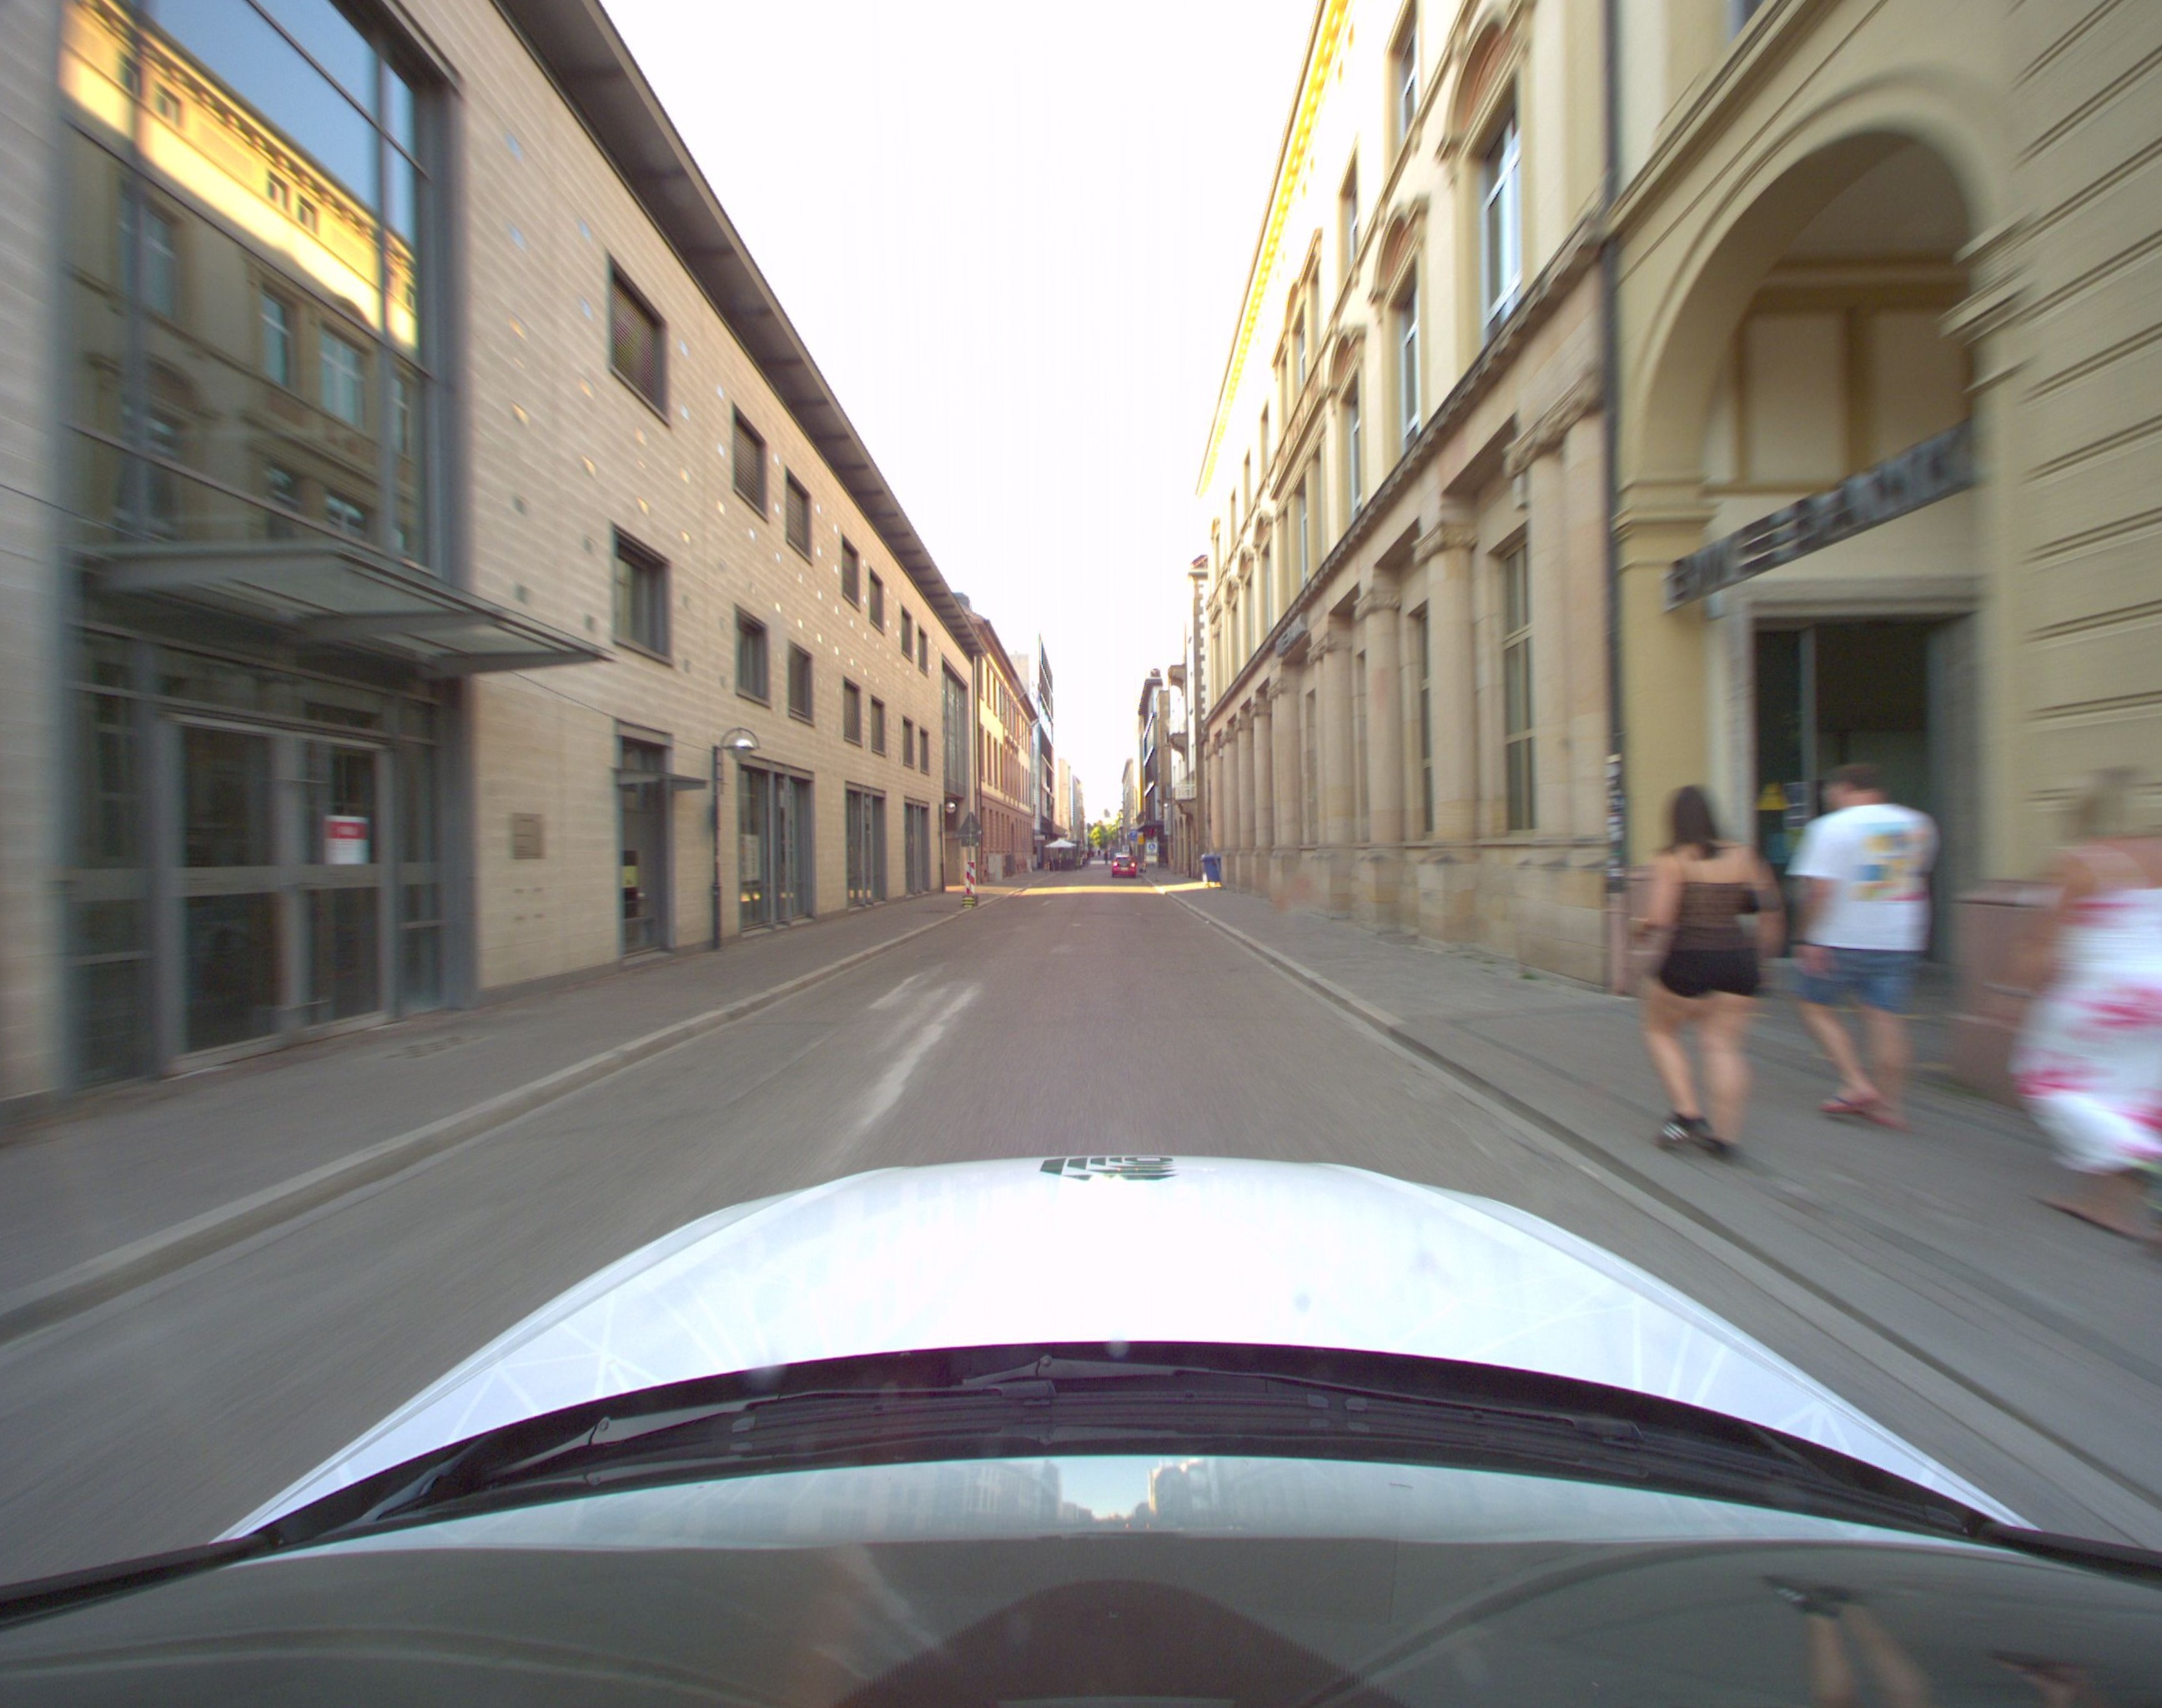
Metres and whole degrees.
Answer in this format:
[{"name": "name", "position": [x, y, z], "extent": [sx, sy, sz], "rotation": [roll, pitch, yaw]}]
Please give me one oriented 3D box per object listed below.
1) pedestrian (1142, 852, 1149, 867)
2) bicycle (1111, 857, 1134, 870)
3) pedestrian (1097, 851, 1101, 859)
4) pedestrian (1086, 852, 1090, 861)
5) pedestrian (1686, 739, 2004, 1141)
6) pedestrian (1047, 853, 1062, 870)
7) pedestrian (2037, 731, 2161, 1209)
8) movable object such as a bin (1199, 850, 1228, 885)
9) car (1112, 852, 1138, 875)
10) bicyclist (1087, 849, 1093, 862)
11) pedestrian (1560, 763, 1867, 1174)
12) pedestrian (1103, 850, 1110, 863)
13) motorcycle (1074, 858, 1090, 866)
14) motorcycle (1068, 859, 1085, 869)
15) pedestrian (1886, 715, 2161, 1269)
[{"name": "pedestrian", "position": [6.119, 0.512, 77.083], "extent": [0.654, 1.487, 0.493], "rotation": [-1, 0, 3]}, {"name": "bicycle", "position": [3.908, 0.890, 76.468], "extent": [2.047, 1.134, 0.648], "rotation": [-1, 0, -2]}, {"name": "pedestrian", "position": [3.961, 0.133, 175.451], "extent": [0.801, 1.672, 0.889], "rotation": [-1, 0, 3]}, {"name": "pedestrian", "position": [1.175, 0.519, 145.556], "extent": [0.675, 1.623, 0.626], "rotation": [-1, 0, 3]}, {"name": "pedestrian", "position": [3.932, 0.404, 4.283], "extent": [0.809, 1.875, 0.875], "rotation": [-1, 0, 0]}, {"name": "pedestrian", "position": [-2.301, 0.666, 70.623], "extent": [1.286, 1.487, 0.661], "rotation": [-1, 0, -1]}, {"name": "pedestrian", "position": [4.379, 0.434, 3.056], "extent": [0.634, 1.803, 0.772], "rotation": [-1, 0, 0]}, {"name": "movable object such as a bin", "position": [5.452, 0.530, 33.657], "extent": [0.987, 1.392, 1.241], "rotation": [-2, 0, 1]}, {"name": "car", "position": [2.917, 0.593, 54.626], "extent": [1.643, 1.427, 3.537], "rotation": [2, 0, 2]}, {"name": "bicyclist", "position": [1.194, 0.211, 111.767], "extent": [0.636, 1.641, 0.770], "rotation": [-2, 0, -7]}, {"name": "pedestrian", "position": [2.976, 0.491, 3.939], "extent": [0.773, 1.746, 0.875], "rotation": [-1, 0, 0]}, {"name": "pedestrian", "position": [3.335, 0.331, 106.654], "extent": [0.862, 1.713, 0.852], "rotation": [-1, 0, 1]}, {"name": "motorcycle", "position": [0.122, 0.915, 94.578], "extent": [1.797, 0.875, 0.560], "rotation": [-1, 0, -3]}, {"name": "motorcycle", "position": [-0.459, 1.103, 86.690], "extent": [1.797, 1.040, 0.493], "rotation": [-1, 0, -3]}, {"name": "pedestrian", "position": [3.730, 0.443, 3.043], "extent": [0.634, 1.803, 0.772], "rotation": [-1, 0, 0]}]
